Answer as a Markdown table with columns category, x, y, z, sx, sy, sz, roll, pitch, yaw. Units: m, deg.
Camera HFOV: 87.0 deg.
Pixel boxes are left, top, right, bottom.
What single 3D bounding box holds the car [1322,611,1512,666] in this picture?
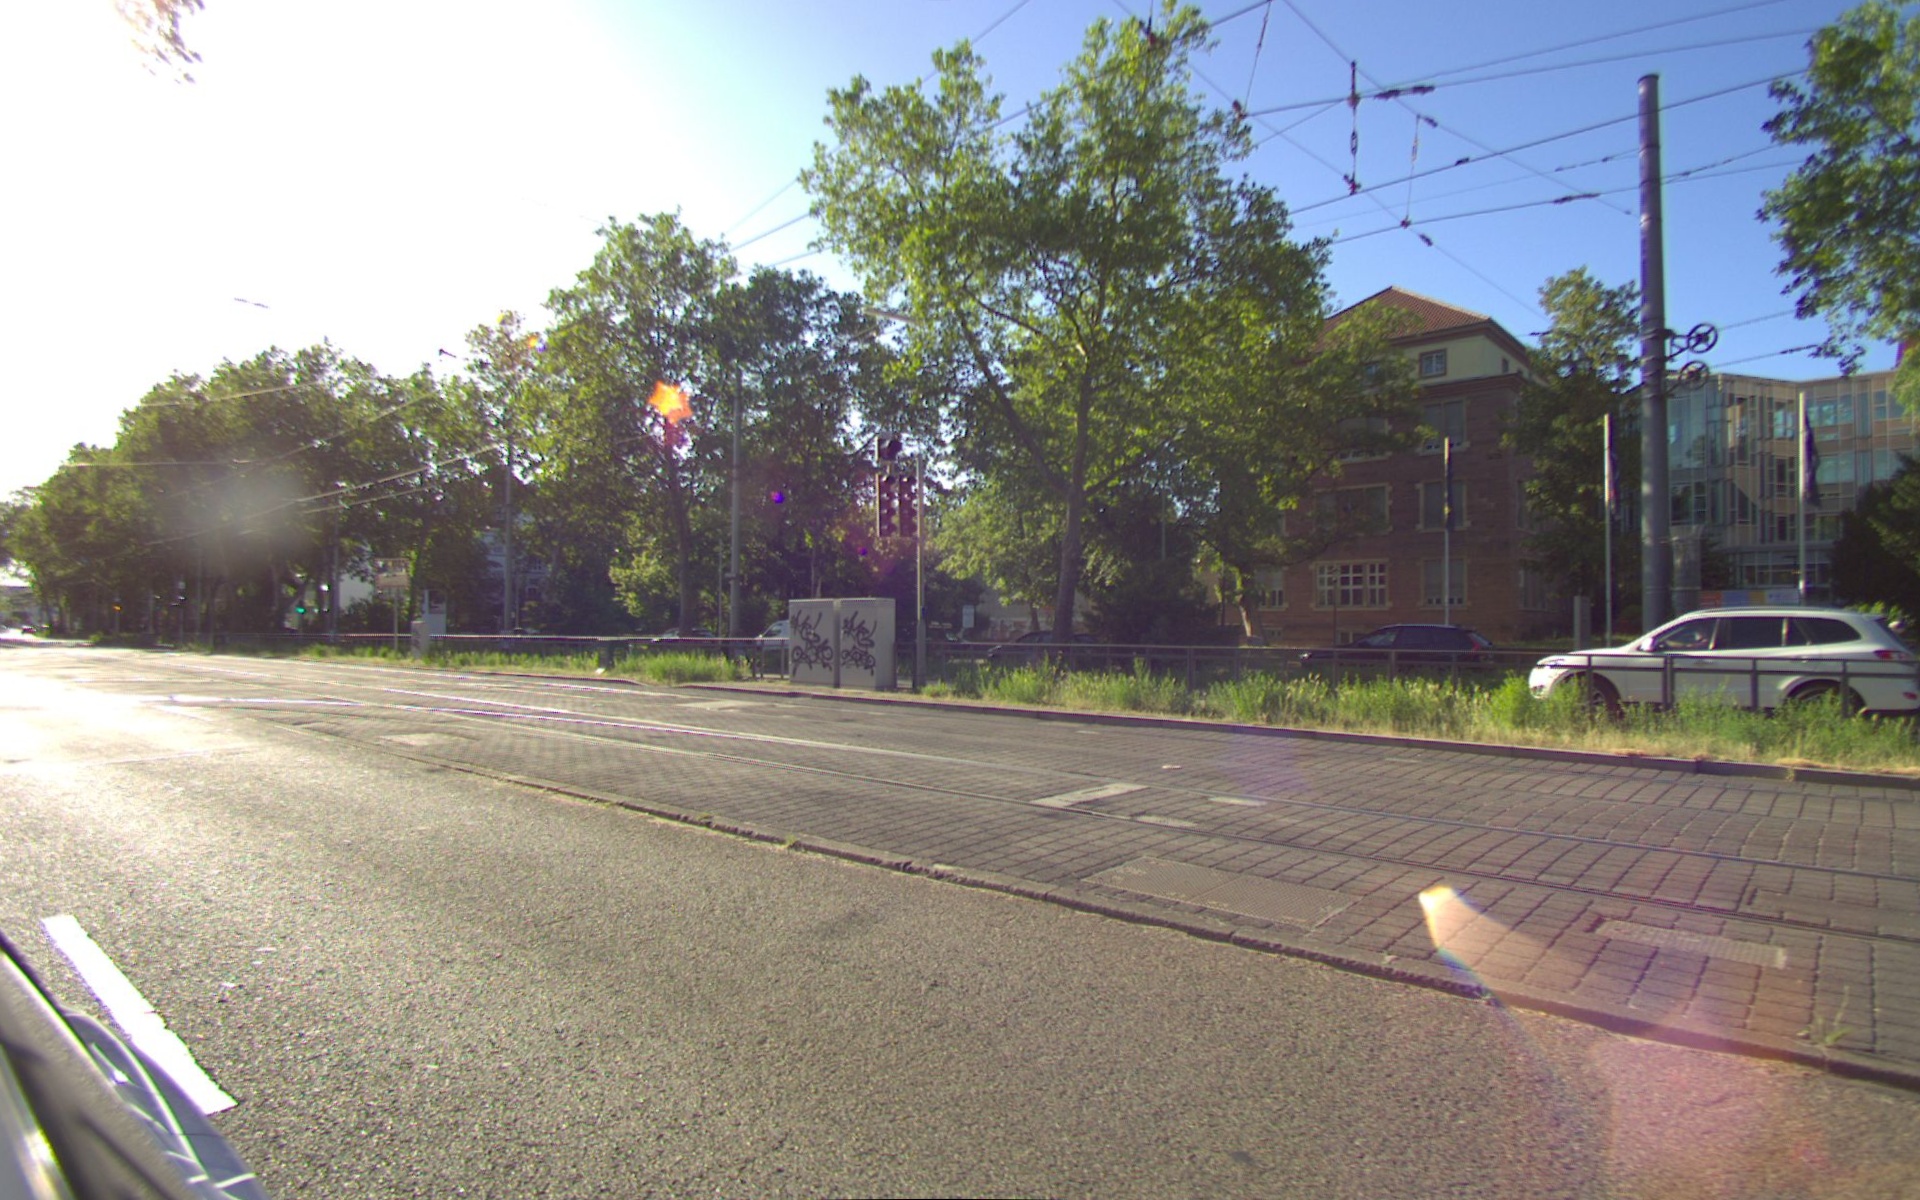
| category | x | y | z | sx | sy | sz | roll | pitch | yaw |
| --- | --- | --- | --- | --- | --- | --- | --- | --- | --- |
| car | 11.272 | 0.913 | 25.120 | 4.024 | 1.232 | 1.578 | -1 | 0 | 42 |

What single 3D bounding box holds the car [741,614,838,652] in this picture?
| category | x | y | z | sx | sy | sz | roll | pitch | yaw |
| --- | --- | --- | --- | --- | --- | --- | --- | --- | --- |
| car | -7.246 | 1.394 | 42.698 | 4.346 | 1.482 | 1.722 | -2 | -1 | 43 |

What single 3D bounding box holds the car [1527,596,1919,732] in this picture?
| category | x | y | z | sx | sy | sz | roll | pitch | yaw |
| --- | --- | --- | --- | --- | --- | --- | --- | --- | --- |
| car | 10.827 | 0.834 | 14.287 | 4.596 | 1.632 | 1.866 | -2 | -1 | 42 |

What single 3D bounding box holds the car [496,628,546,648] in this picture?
| category | x | y | z | sx | sy | sz | roll | pitch | yaw |
| --- | --- | --- | --- | --- | --- | --- | --- | --- | --- |
| car | -25.476 | 2.208 | 58.762 | 3.127 | 1.057 | 1.484 | -2 | -1 | 42 |

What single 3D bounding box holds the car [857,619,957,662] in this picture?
| category | x | y | z | sx | sy | sz | roll | pitch | yaw |
| --- | --- | --- | --- | --- | --- | --- | --- | --- | --- |
| car | -1.999 | 1.496 | 37.683 | 1.573 | 1.482 | 3.824 | -1 | -1 | -44 |

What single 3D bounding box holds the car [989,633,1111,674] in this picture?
| category | x | y | z | sx | sy | sz | roll | pitch | yaw |
| --- | --- | --- | --- | --- | --- | --- | --- | --- | --- |
| car | 2.859 | 1.686 | 32.809 | 3.763 | 1.231 | 1.603 | -2 | -2 | 43 |
